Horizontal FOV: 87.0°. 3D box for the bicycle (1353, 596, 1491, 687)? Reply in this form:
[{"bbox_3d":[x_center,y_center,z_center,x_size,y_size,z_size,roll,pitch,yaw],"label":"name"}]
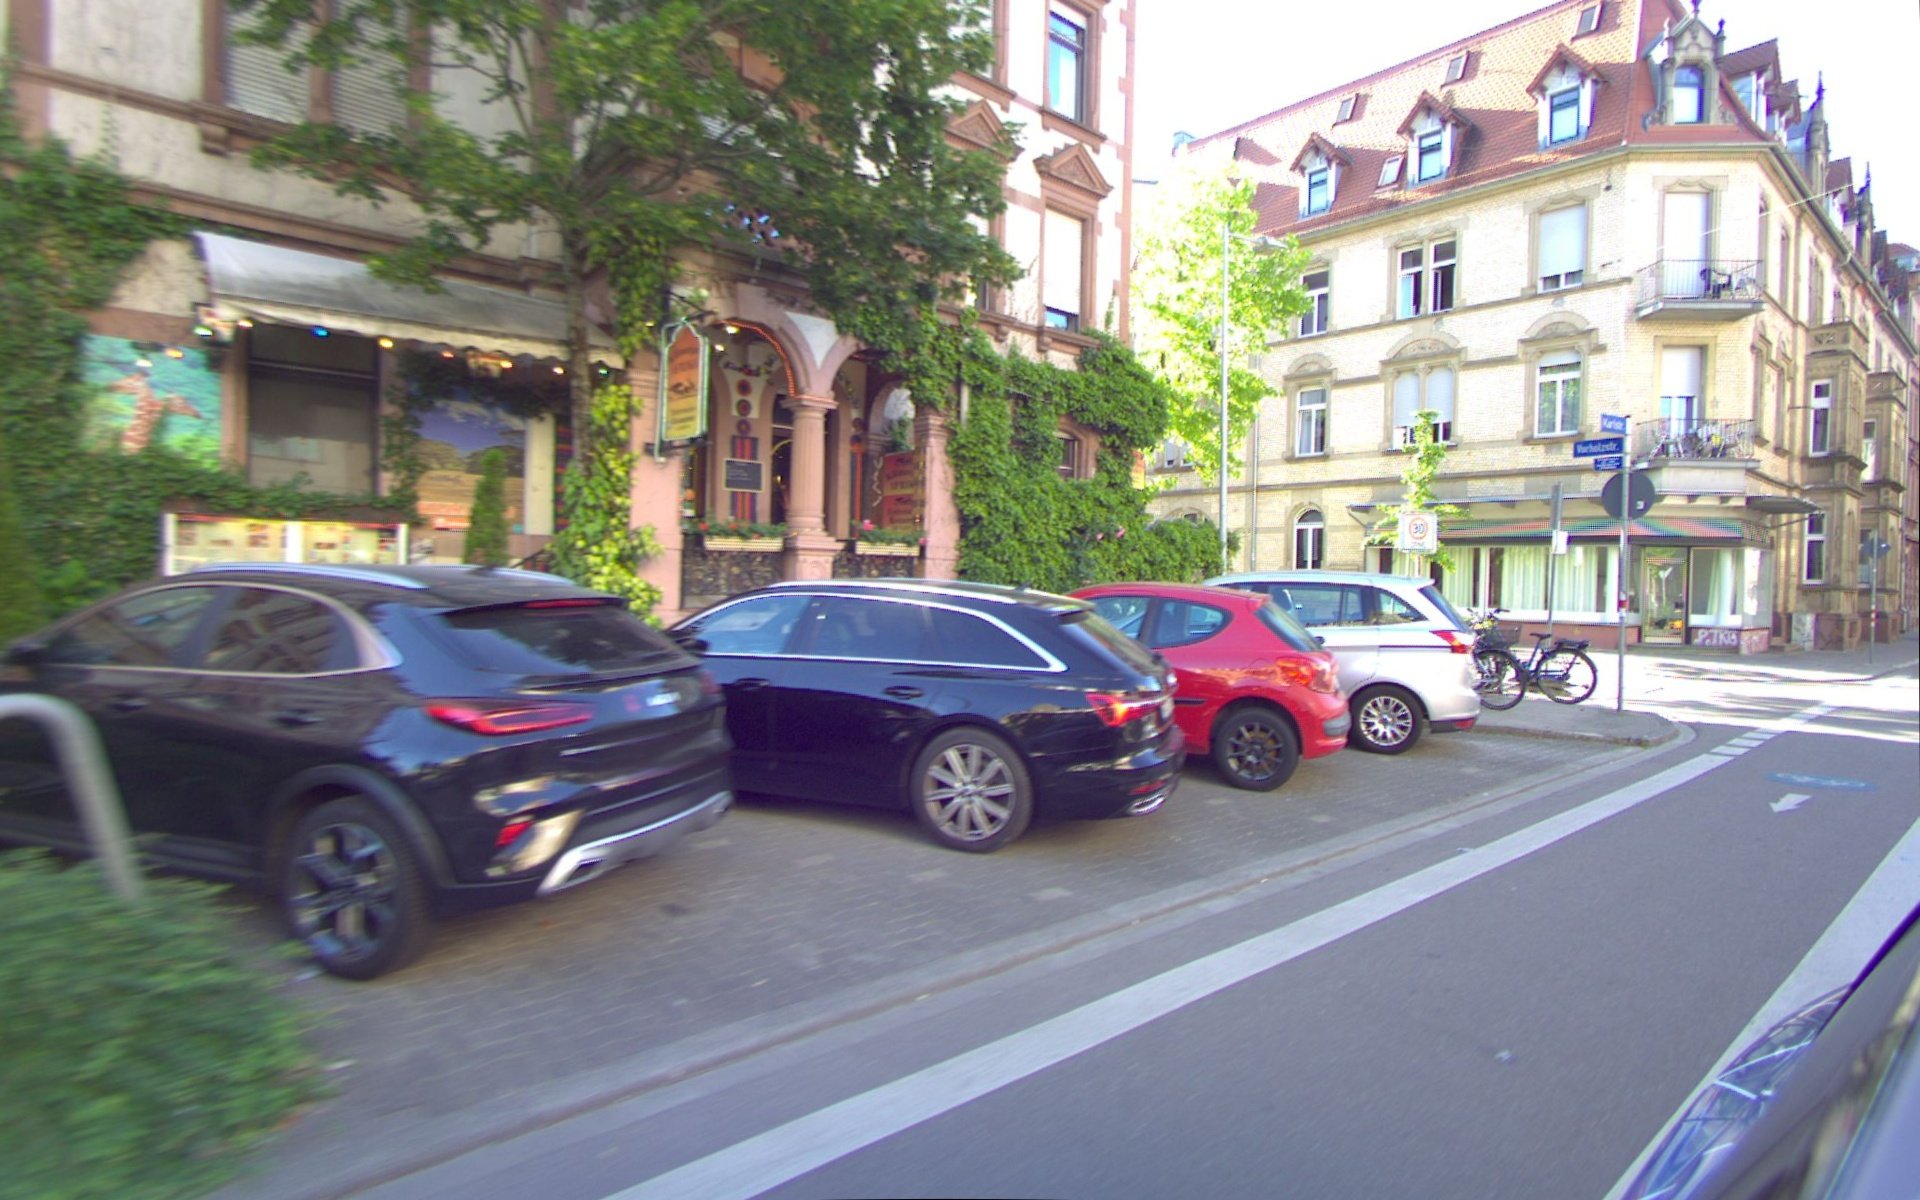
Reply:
[{"bbox_3d":[6.273,0.532,13.817,0.541,1.141,1.681,0,1,-34],"label":"bicycle"}]

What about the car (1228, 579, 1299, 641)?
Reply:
[{"bbox_3d":[8.333,0.216,27.695,1.749,1.551,3.511,1,1,18],"label":"car"}]

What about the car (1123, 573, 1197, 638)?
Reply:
[{"bbox_3d":[6.144,0.115,30.824,1.749,1.853,3.718,1,1,18],"label":"car"}]

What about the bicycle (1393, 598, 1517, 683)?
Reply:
[{"bbox_3d":[7.154,0.554,14.684,0.541,1.141,1.562,0,1,-34],"label":"bicycle"}]

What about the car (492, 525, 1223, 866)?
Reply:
[{"bbox_3d":[-0.682,0.406,6.682,4.403,1.616,2.071,1,1,25],"label":"car"}]

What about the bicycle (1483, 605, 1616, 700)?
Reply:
[{"bbox_3d":[7.698,0.648,13.252,0.542,1.141,1.400,0,1,-40],"label":"bicycle"}]

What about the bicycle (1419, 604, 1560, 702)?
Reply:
[{"bbox_3d":[6.413,0.610,12.335,0.301,1.092,1.562,0,1,-34],"label":"bicycle"}]

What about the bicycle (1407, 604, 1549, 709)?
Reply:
[{"bbox_3d":[6.145,0.634,12.093,0.289,1.141,1.566,0,1,-34],"label":"bicycle"}]

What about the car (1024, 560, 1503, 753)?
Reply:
[{"bbox_3d":[2.981,0.433,10.260,4.320,1.616,1.837,1,1,26],"label":"car"}]

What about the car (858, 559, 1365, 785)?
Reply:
[{"bbox_3d":[1.306,0.458,8.700,3.958,1.556,1.902,1,1,25],"label":"car"}]

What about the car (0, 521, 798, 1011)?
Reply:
[{"bbox_3d":[-3.173,0.508,4.946,4.273,1.616,2.034,1,1,17],"label":"car"}]

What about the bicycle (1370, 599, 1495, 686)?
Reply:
[{"bbox_3d":[6.664,0.571,14.347,0.518,1.141,1.562,0,1,-34],"label":"bicycle"}]
